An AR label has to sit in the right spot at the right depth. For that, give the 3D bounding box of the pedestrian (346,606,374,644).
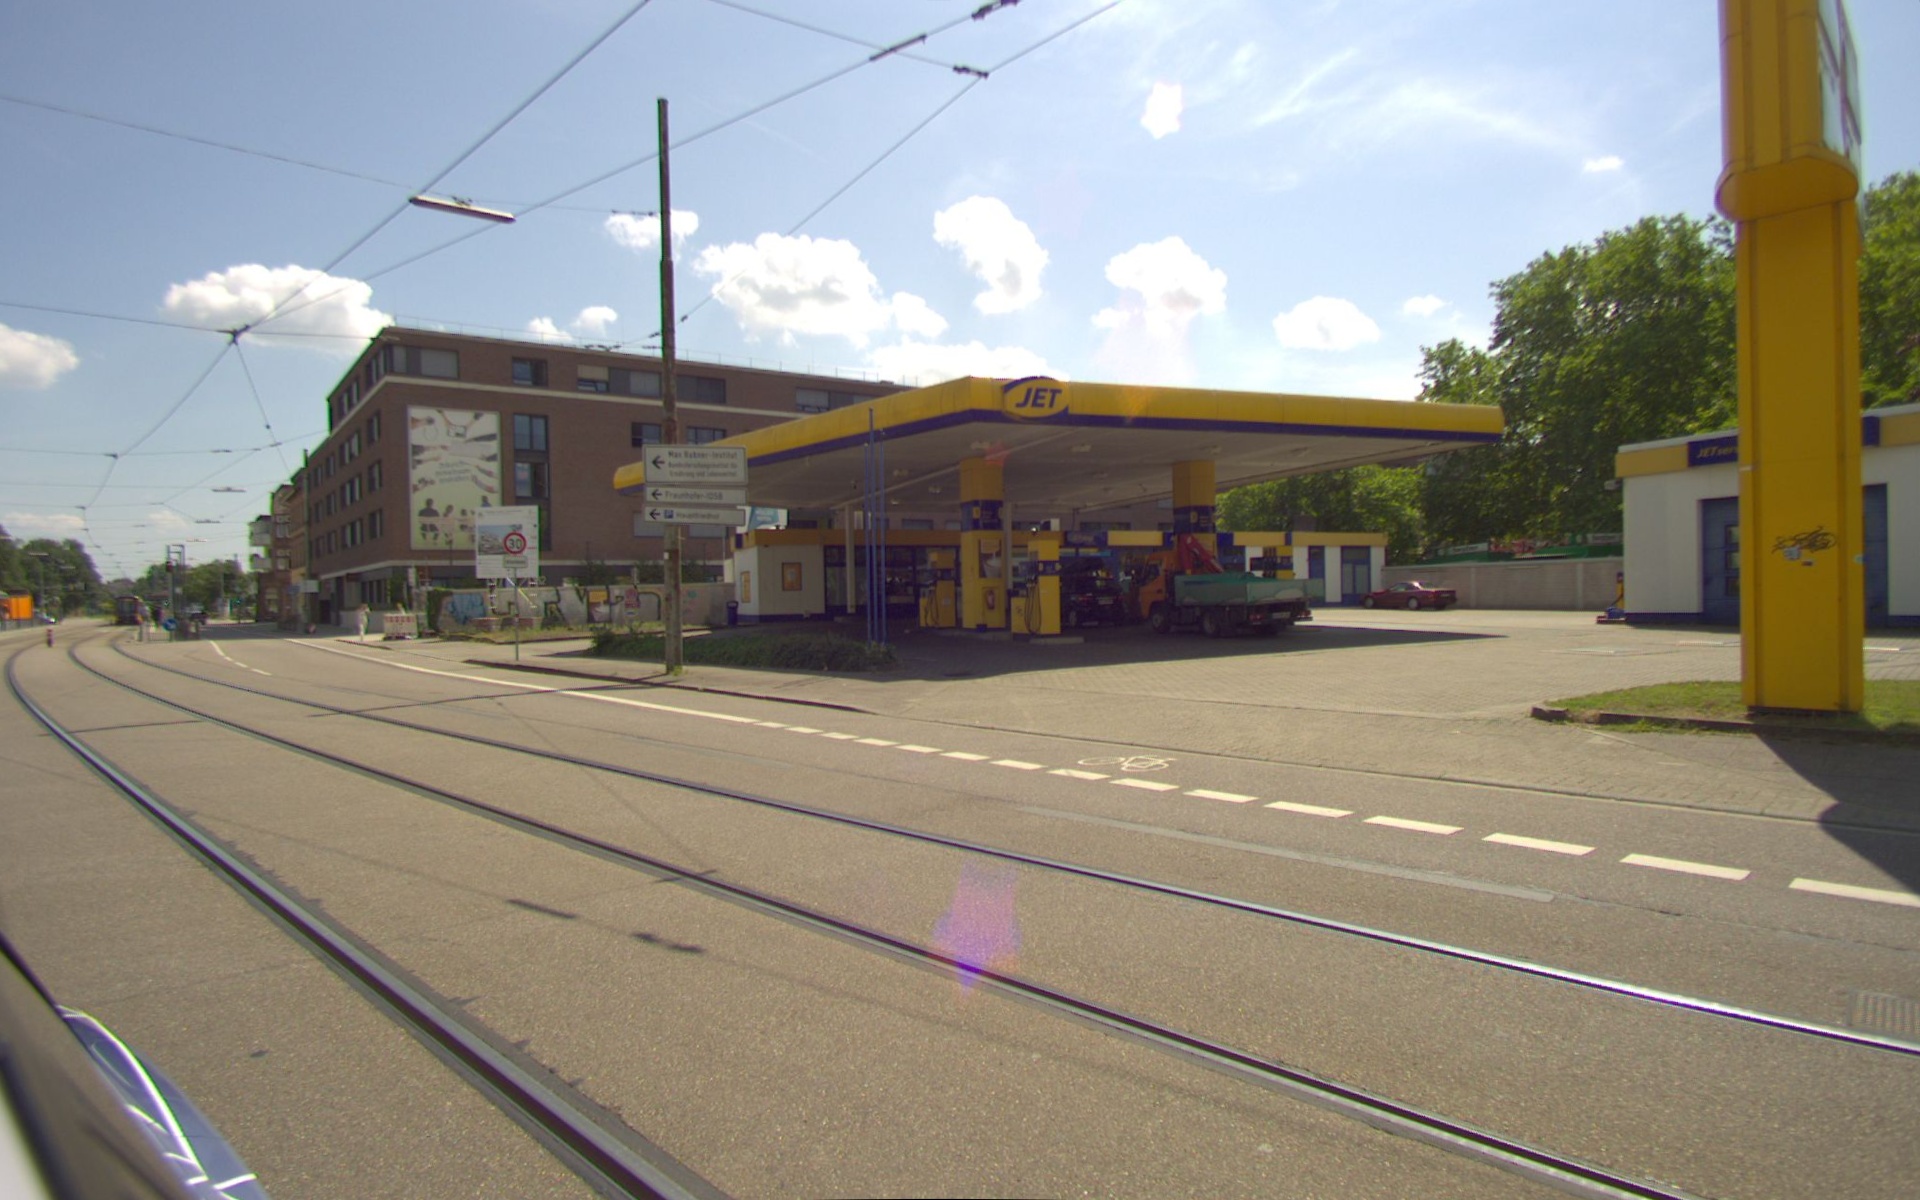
[{"bbox_3d":[-26.605,1.103,44.892,0.751,1.607,1.001,-6,3,-44],"label":"pedestrian"}]

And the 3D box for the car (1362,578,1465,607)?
[{"bbox_3d":[20.305,-0.315,45.483,1.728,1.219,4.013,-2,1,-27],"label":"car"}]

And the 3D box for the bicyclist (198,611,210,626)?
[{"bbox_3d":[-77.048,1.898,103.136,0.749,1.515,1.066,-2,0,-45],"label":"bicyclist"}]

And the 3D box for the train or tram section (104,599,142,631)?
[{"bbox_3d":[-99.843,1.759,120.850,3.194,3.594,16.380,-1,0,-39],"label":"train or tram section"}]

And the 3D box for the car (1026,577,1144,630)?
[{"bbox_3d":[3.824,0.108,31.832,1.966,1.490,4.355,-1,0,-18],"label":"car"}]

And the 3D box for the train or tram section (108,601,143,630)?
[{"bbox_3d":[-111.413,2.023,135.288,3.209,3.594,20.540,-1,0,-39],"label":"train or tram section"}]

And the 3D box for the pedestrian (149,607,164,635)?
[{"bbox_3d":[-50.944,1.310,64.158,0.677,1.773,1.035,-1,-1,-40],"label":"pedestrian"}]

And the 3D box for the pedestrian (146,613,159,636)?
[{"bbox_3d":[-61.084,1.842,76.590,0.750,1.707,0.810,-1,-1,-40],"label":"pedestrian"}]

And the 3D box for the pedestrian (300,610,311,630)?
[{"bbox_3d":[-52.536,1.613,81.200,0.677,1.608,0.762,-1,-1,-40],"label":"pedestrian"}]

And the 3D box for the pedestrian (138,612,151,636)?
[{"bbox_3d":[-61.659,1.798,76.491,0.750,1.813,0.953,-1,-1,-40],"label":"pedestrian"}]

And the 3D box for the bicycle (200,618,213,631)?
[{"bbox_3d":[-76.946,2.481,103.284,0.807,1.232,2.391,-1,-1,-43],"label":"bicycle"}]

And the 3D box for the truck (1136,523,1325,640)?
[{"bbox_3d":[6.381,-0.435,24.643,1.966,2.516,5.219,-2,1,-16],"label":"truck"}]

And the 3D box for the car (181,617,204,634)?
[{"bbox_3d":[-95.863,3.169,126.368,1.991,2.028,4.007,-4,2,-39],"label":"car"}]
